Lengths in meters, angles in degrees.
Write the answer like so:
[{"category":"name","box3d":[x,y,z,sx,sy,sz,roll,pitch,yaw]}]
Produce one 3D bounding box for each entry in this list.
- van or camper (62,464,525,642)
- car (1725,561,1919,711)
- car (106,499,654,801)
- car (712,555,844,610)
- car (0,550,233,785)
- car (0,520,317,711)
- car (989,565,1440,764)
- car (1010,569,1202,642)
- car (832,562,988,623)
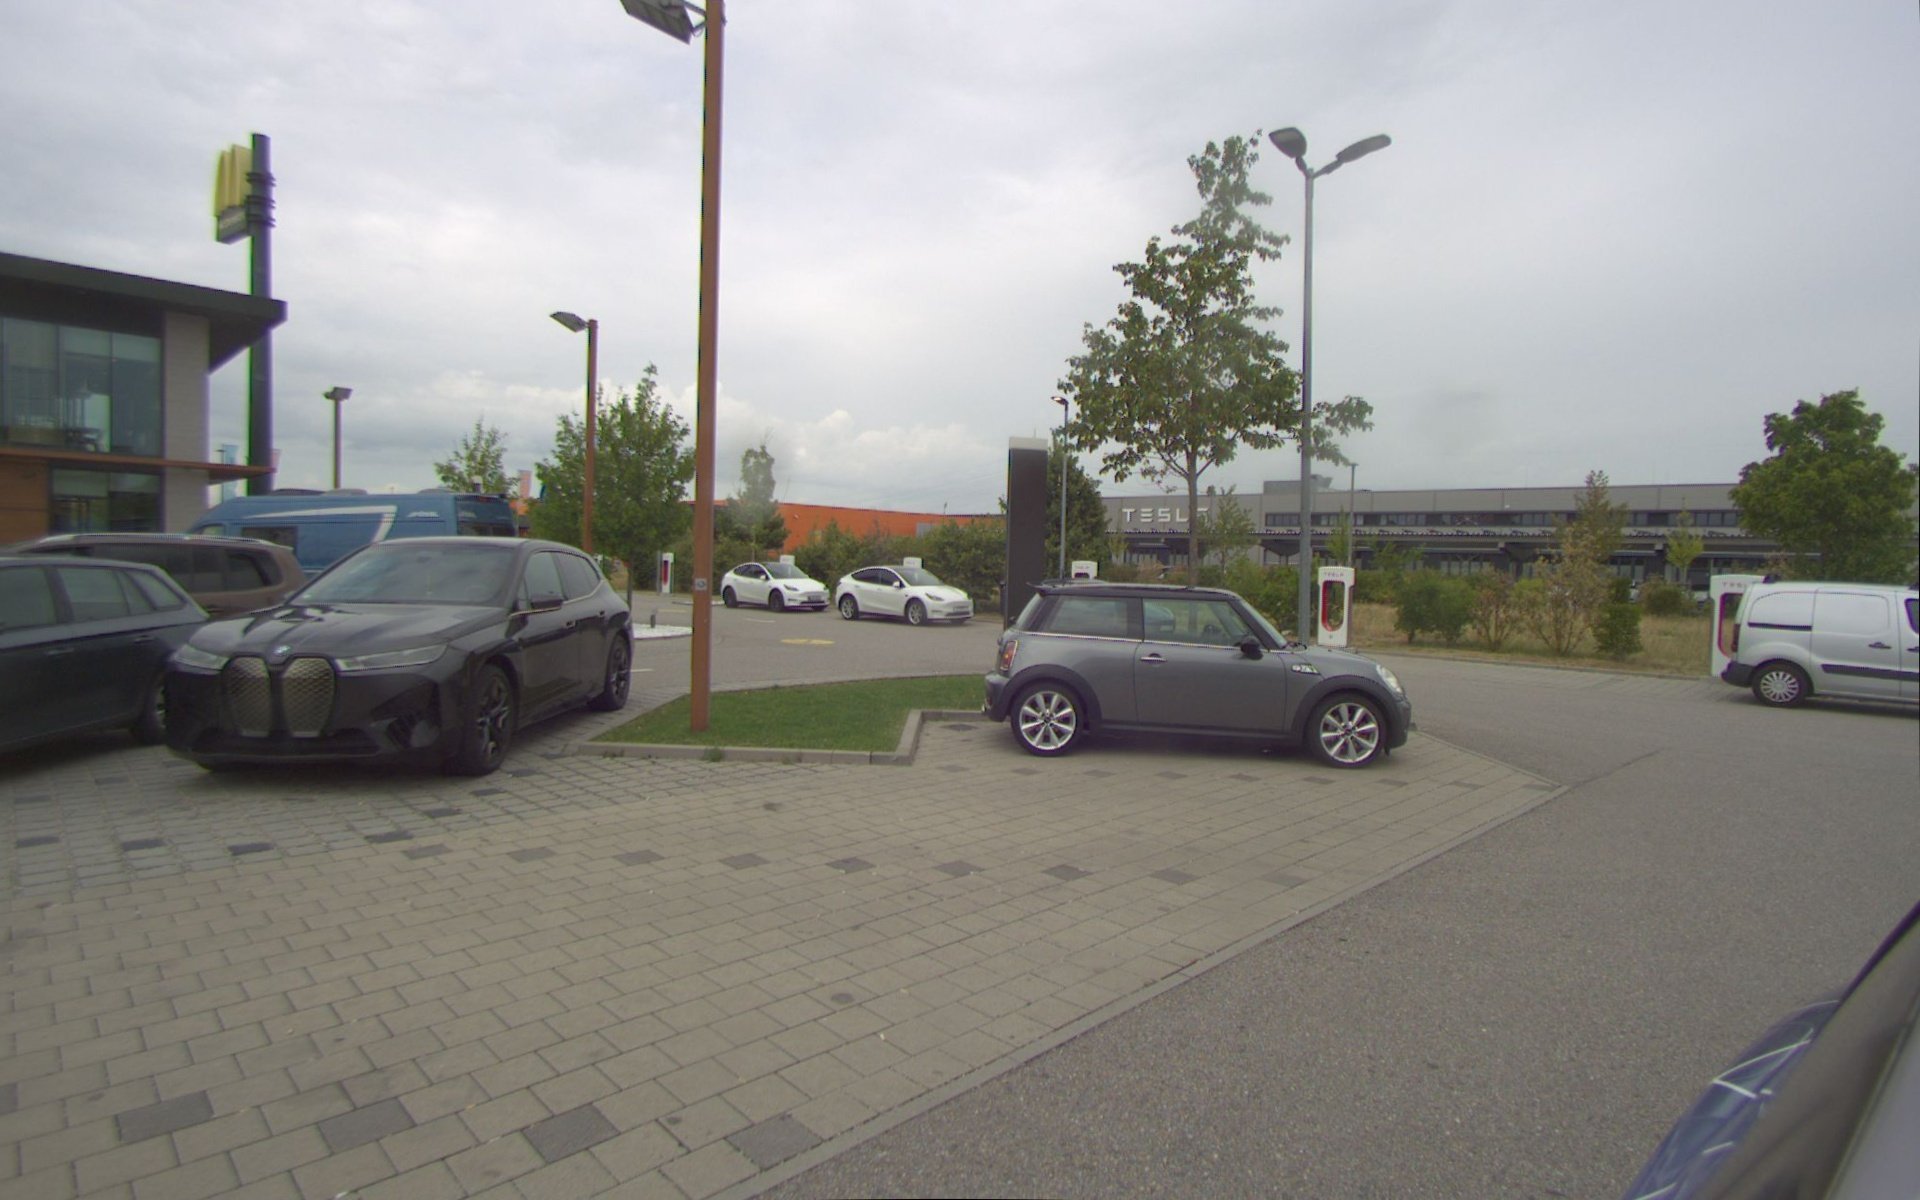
[{"category":"van or camper","box3d":[-10.884,-0.755,16.826,6.455,2.734,2.171,0,1,4]},{"category":"car","box3d":[13.305,0.508,13.787,4.326,1.911,1.915,4,2,45]},{"category":"car","box3d":[-4.207,0.237,8.509,1.961,1.749,4.901,2,1,-3]},{"category":"car","box3d":[-6.285,-0.651,34.597,2.039,1.621,4.935,-1,3,-44]},{"category":"car","box3d":[-6.801,0.393,6.491,1.795,1.429,4.007,0,2,-7]},{"category":"car","box3d":[-8.986,0.097,9.951,1.804,1.711,4.128,4,2,41]},{"category":"car","box3d":[2.052,0.483,8.858,3.465,1.393,1.608,3,1,5]},{"category":"car","box3d":[3.422,0.046,24.364,1.803,1.476,4.449,-1,4,-42]},{"category":"car","box3d":[-1.525,-0.283,29.454,4.465,1.572,2.040,3,3,44]}]
